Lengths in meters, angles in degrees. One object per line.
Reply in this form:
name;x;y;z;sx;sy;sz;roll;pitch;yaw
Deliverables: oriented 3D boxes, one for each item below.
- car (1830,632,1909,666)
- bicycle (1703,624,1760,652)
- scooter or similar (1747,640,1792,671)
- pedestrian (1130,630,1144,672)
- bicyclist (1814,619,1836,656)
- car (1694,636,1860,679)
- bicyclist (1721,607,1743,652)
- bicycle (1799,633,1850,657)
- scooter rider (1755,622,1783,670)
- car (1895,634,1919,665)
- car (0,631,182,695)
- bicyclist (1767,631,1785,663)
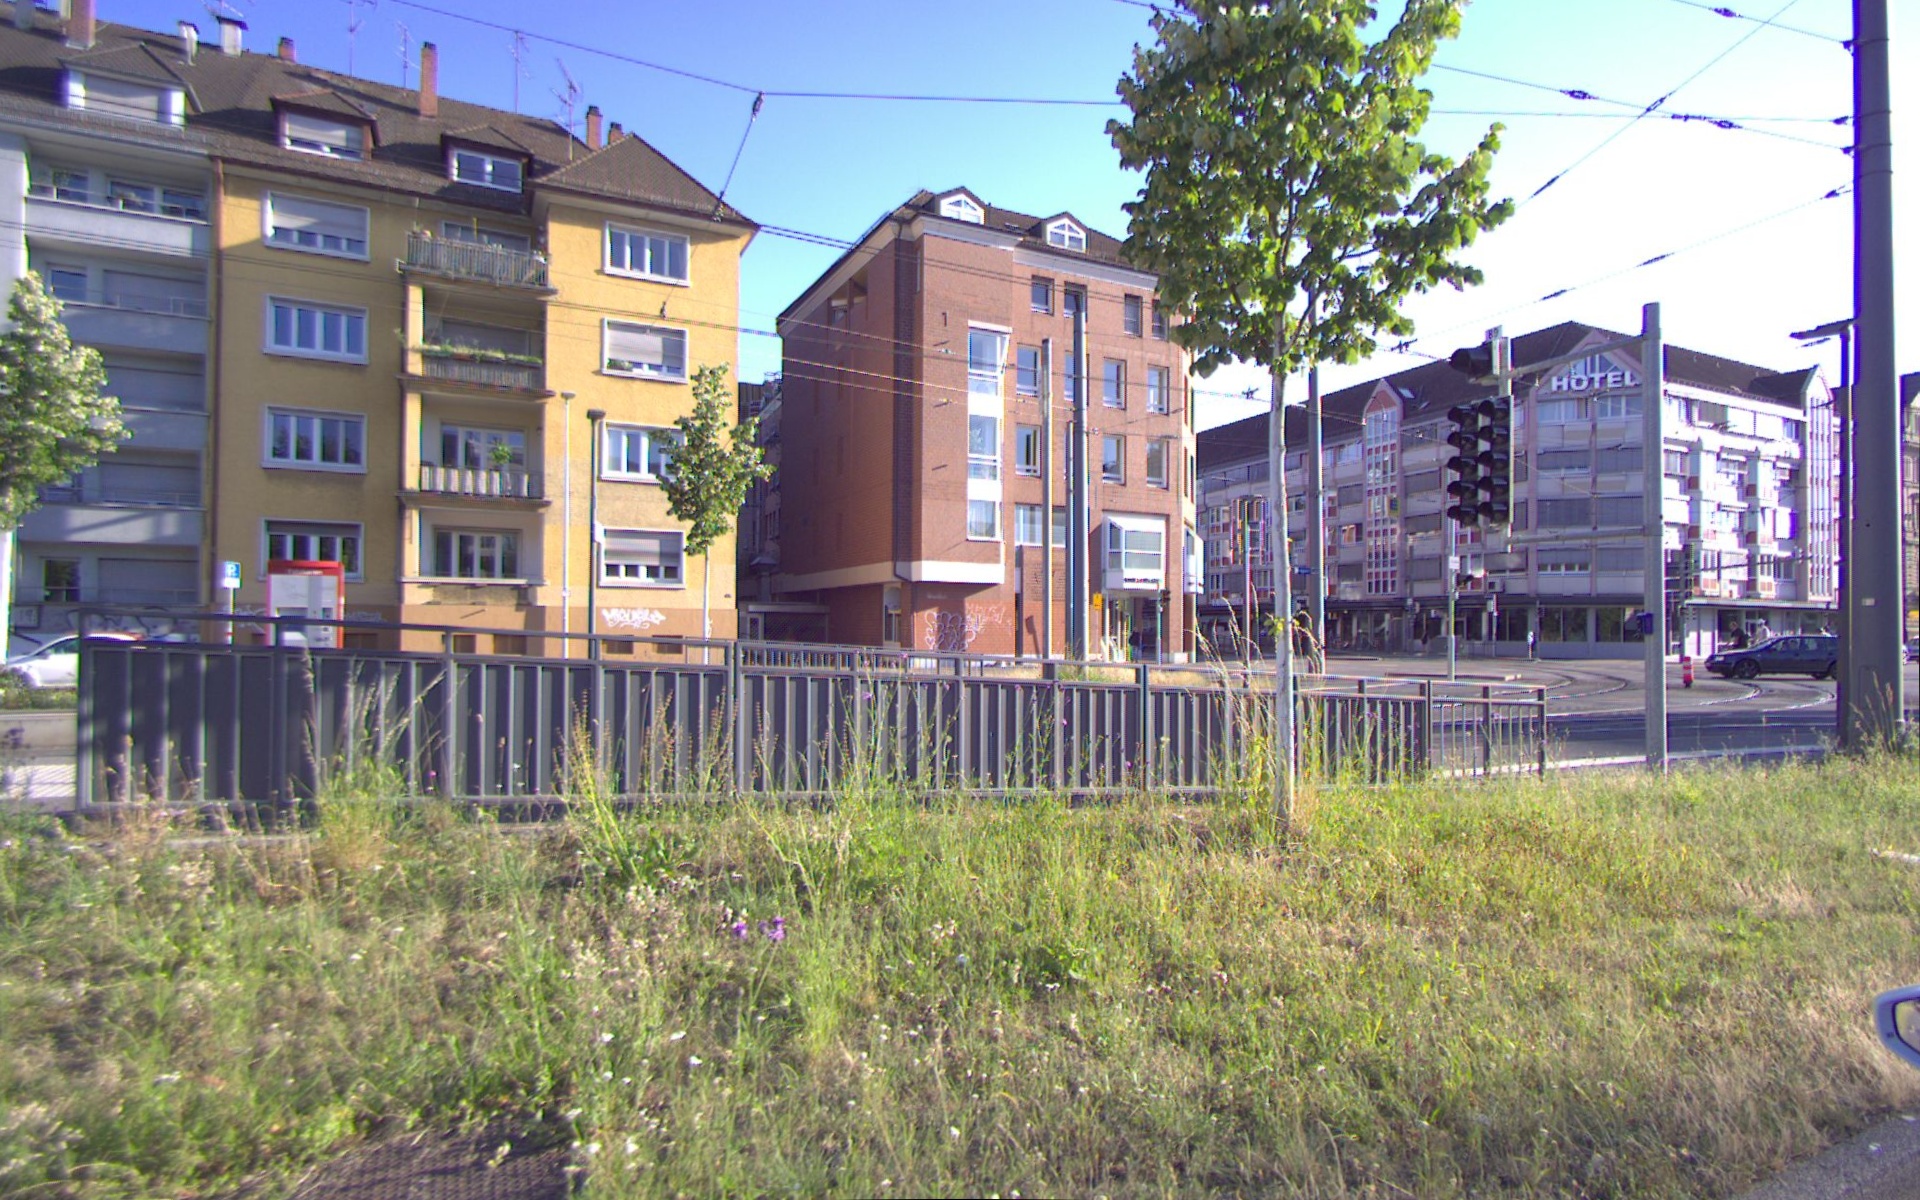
car;52.434;2.802;57.908;3.946;1.884;1.988;1;-2;-25
bicycle;30.322;1.504;39.491;1.753;1.086;0.533;-1;-2;37
scooter or similar;29.245;1.993;36.284;0.525;1.086;1.163;1;-2;-36
pedestrian;7.934;2.281;44.953;0.532;1.831;0.502;0;-2;1
bicyclist;40.268;1.743;46.752;0.533;1.734;0.659;1;-2;-37
car;26.981;1.872;33.345;3.926;1.305;1.845;-1;-2;27
bicyclist;30.343;1.169;39.482;0.655;1.734;0.536;-1;-2;37
bicycle;40.251;2.080;46.768;0.534;1.073;1.720;1;-2;-36
scooter rider;29.233;1.663;36.314;0.522;1.734;0.659;1;-2;-37
car;59.463;3.006;61.475;3.946;1.884;1.988;1;-2;-25
car;-21.742;1.534;24.960;3.508;1.505;1.740;1;-2;-28
bicyclist;47.551;2.745;58.544;0.633;1.886;0.591;1;-2;-26
